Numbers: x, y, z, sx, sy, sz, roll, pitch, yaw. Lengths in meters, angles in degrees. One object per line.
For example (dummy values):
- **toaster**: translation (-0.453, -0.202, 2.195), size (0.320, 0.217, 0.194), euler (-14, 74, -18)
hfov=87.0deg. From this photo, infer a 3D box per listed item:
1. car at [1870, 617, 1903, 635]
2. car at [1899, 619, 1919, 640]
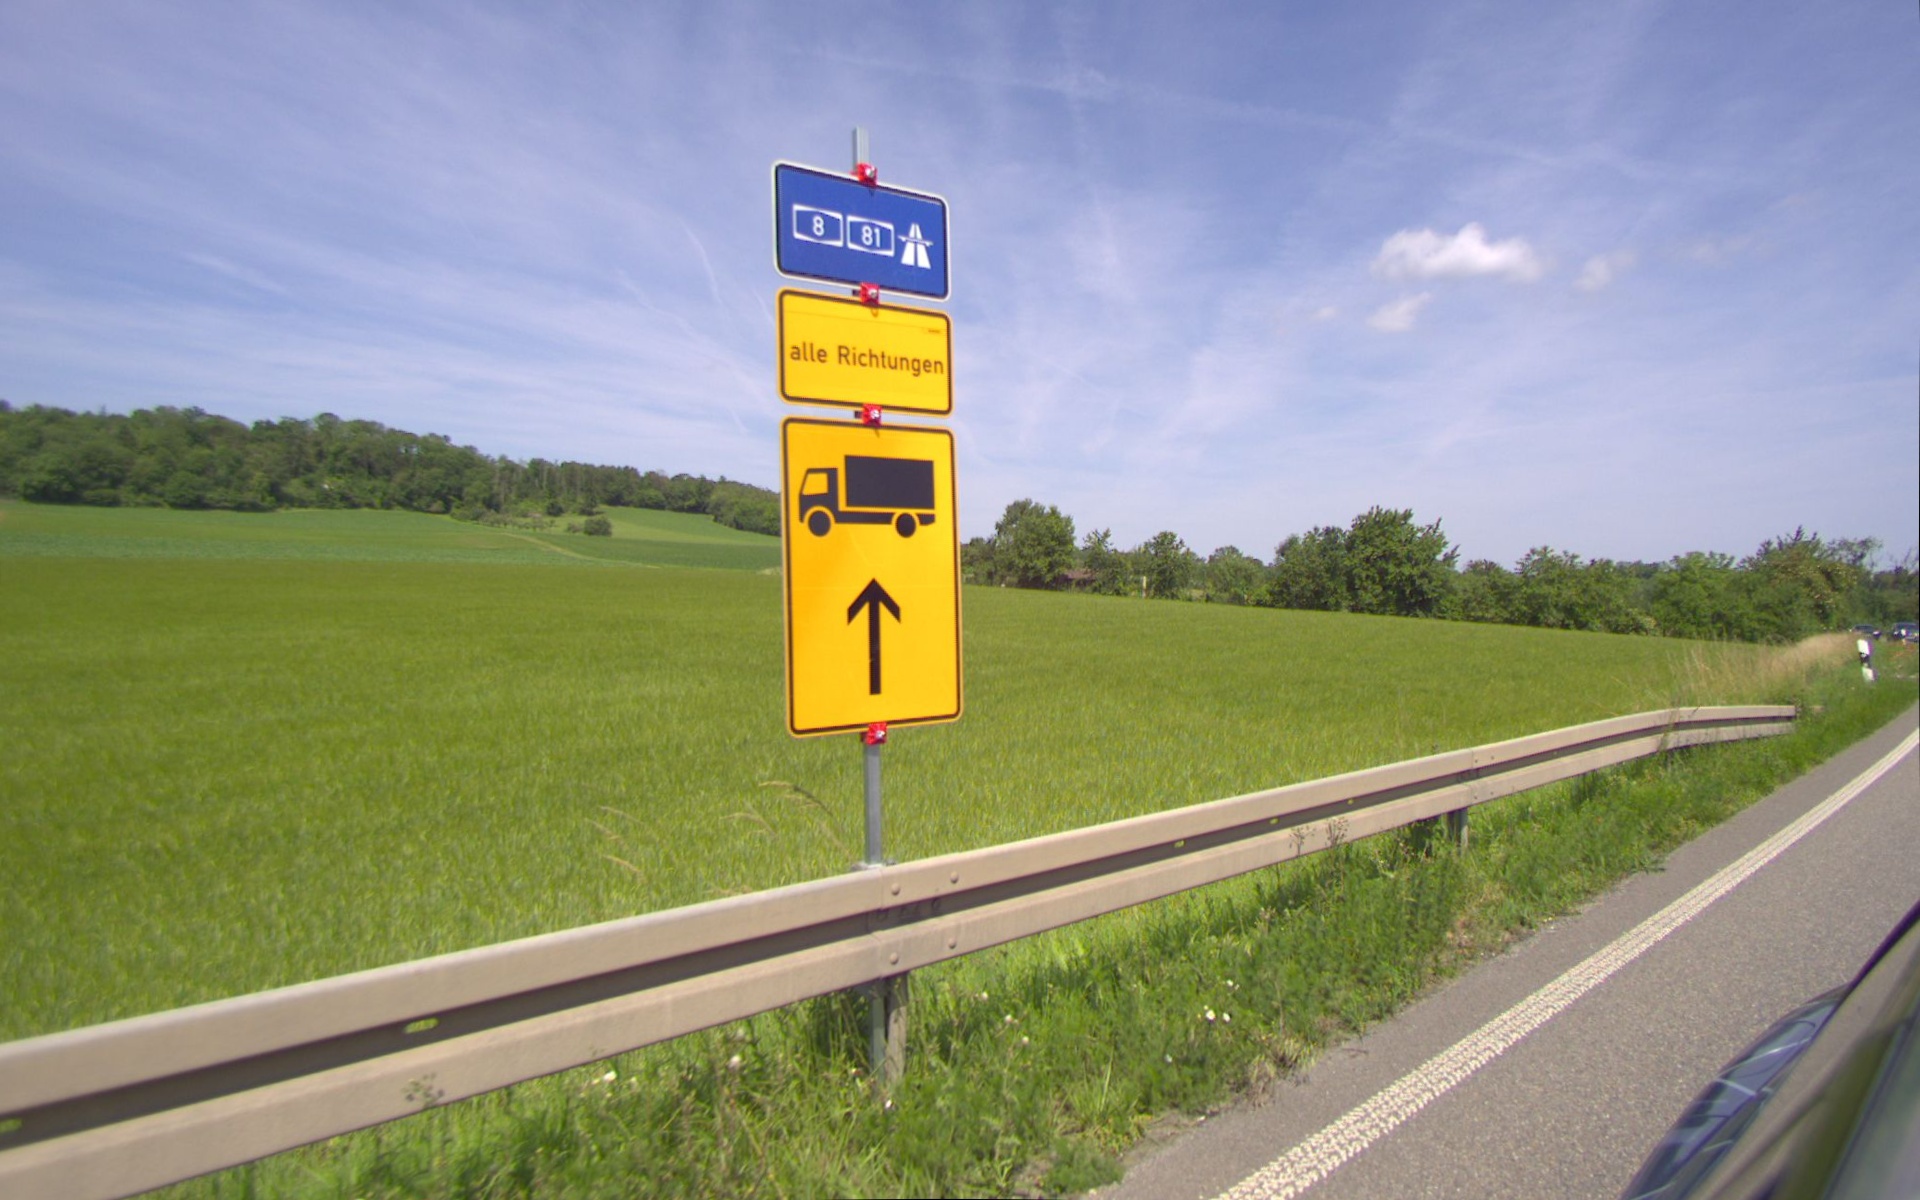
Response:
- **car**: translation (83.103, 2.319, 90.824), size (1.921, 1.468, 3.943), euler (2, 2, 39)
- **car**: translation (70.797, 2.180, 74.764), size (1.923, 1.468, 4.016), euler (2, 2, 41)
